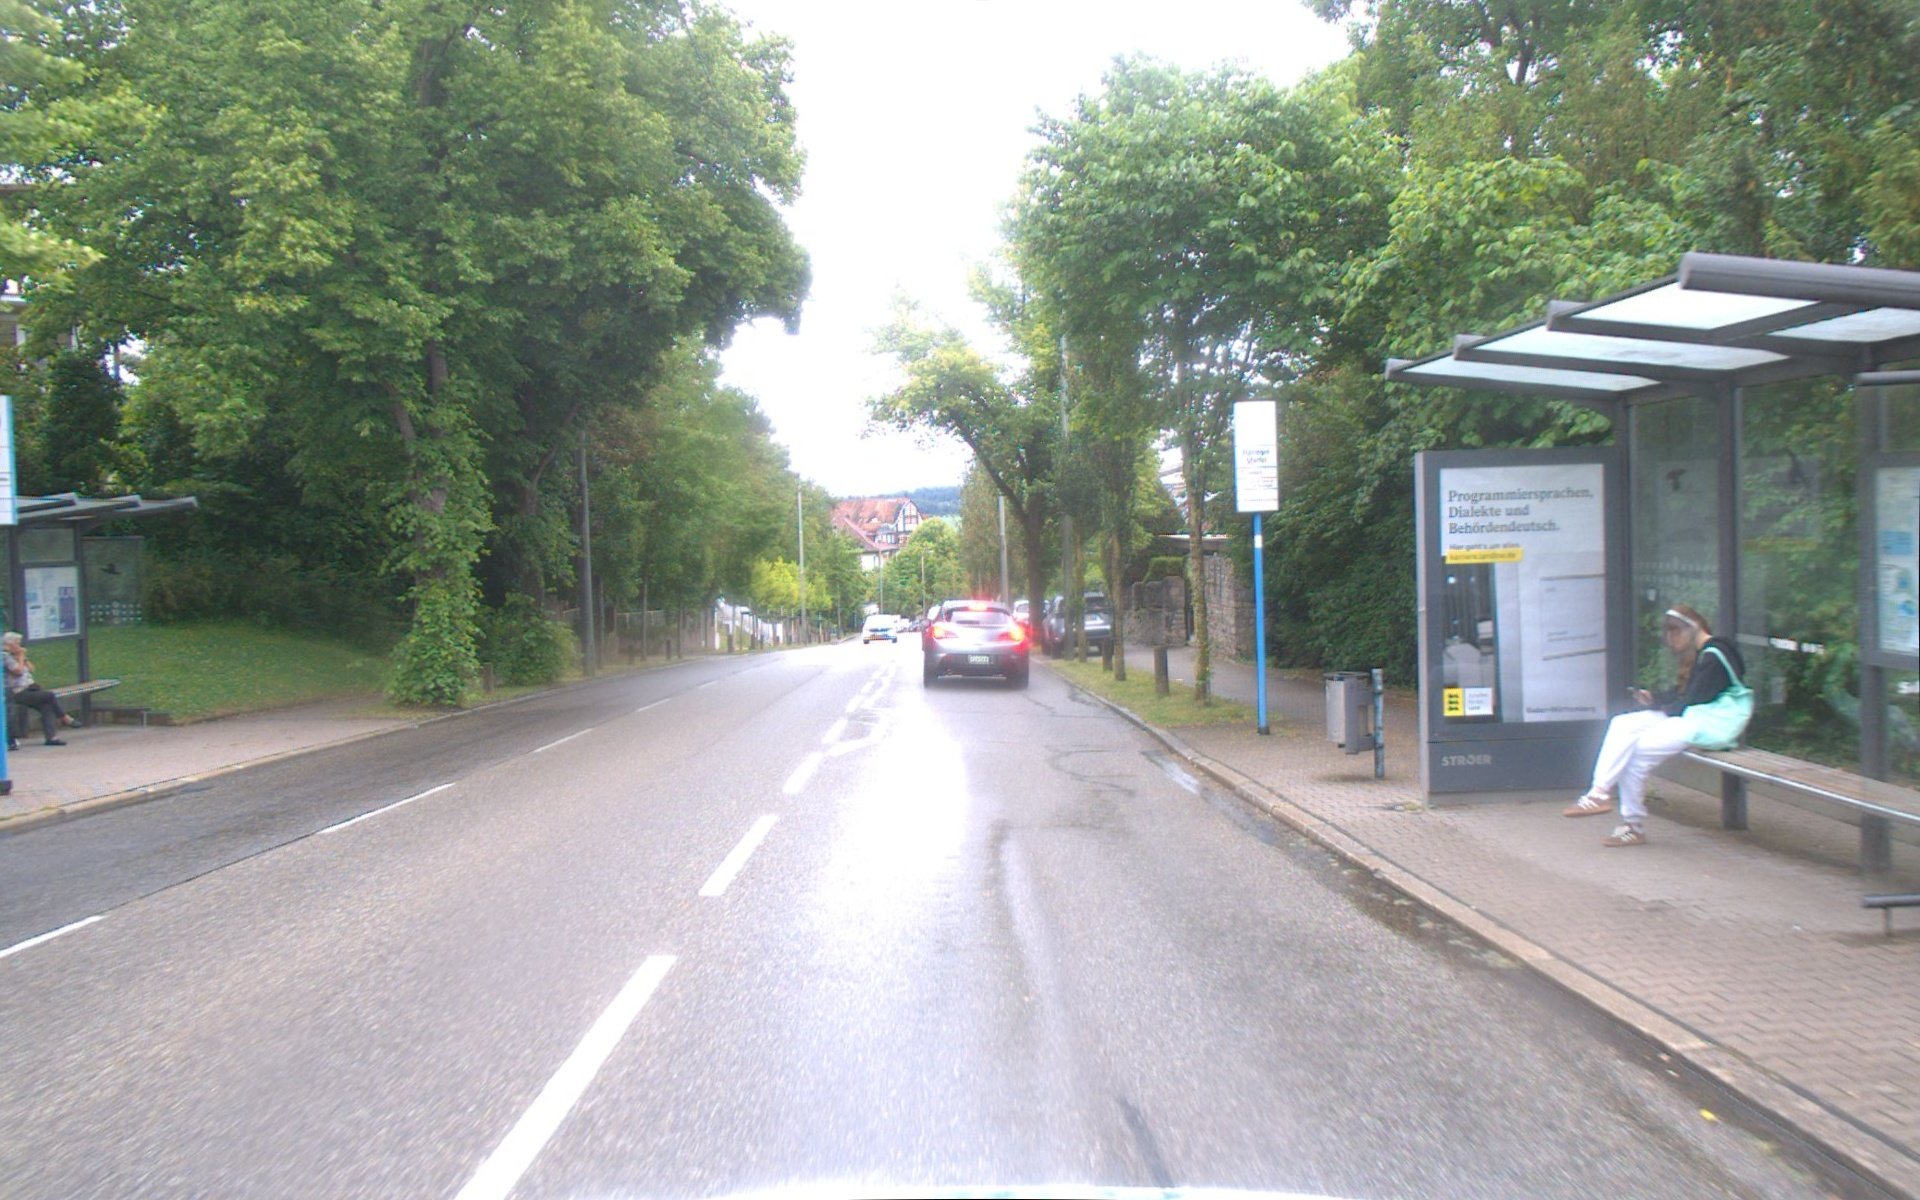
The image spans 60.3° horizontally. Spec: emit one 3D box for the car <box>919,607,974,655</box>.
[{"bbox_3d":[-0.459,1.032,54.586,1.718,1.490,3.999,1,-2,-1],"label":"car"}]

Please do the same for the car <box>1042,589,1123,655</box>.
[{"bbox_3d":[3.084,0.520,42.315,1.686,1.489,4.000,-3,1,-1],"label":"car"}]

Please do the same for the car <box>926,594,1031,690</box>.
[{"bbox_3d":[0.324,0.694,29.353,1.718,1.489,4.001,1,1,0],"label":"car"}]

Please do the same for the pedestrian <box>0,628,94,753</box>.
[{"bbox_3d":[-11.234,1.078,20.064,0.918,1.428,0.919,1,1,6],"label":"pedestrian"}]

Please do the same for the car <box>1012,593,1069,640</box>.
[{"bbox_3d":[2.764,0.554,57.468,1.686,1.489,4.000,2,1,-1],"label":"car"}]

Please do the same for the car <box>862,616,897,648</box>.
[{"bbox_3d":[-4.278,1.692,88.415,1.686,1.489,3.999,2,1,-1],"label":"car"}]

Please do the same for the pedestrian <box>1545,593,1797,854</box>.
[{"bbox_3d":[4.053,0.681,9.514,1.051,1.379,0.919,-3,0,6],"label":"pedestrian"}]

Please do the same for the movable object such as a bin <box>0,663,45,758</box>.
[{"bbox_3d":[-11.212,1.282,19.323,0.746,1.061,0.500,1,1,6],"label":"movable object such as a bin"}]

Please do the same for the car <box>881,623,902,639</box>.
[{"bbox_3d":[-6.513,2.954,156.887,1.686,1.490,4.000,1,-1,1],"label":"car"}]
